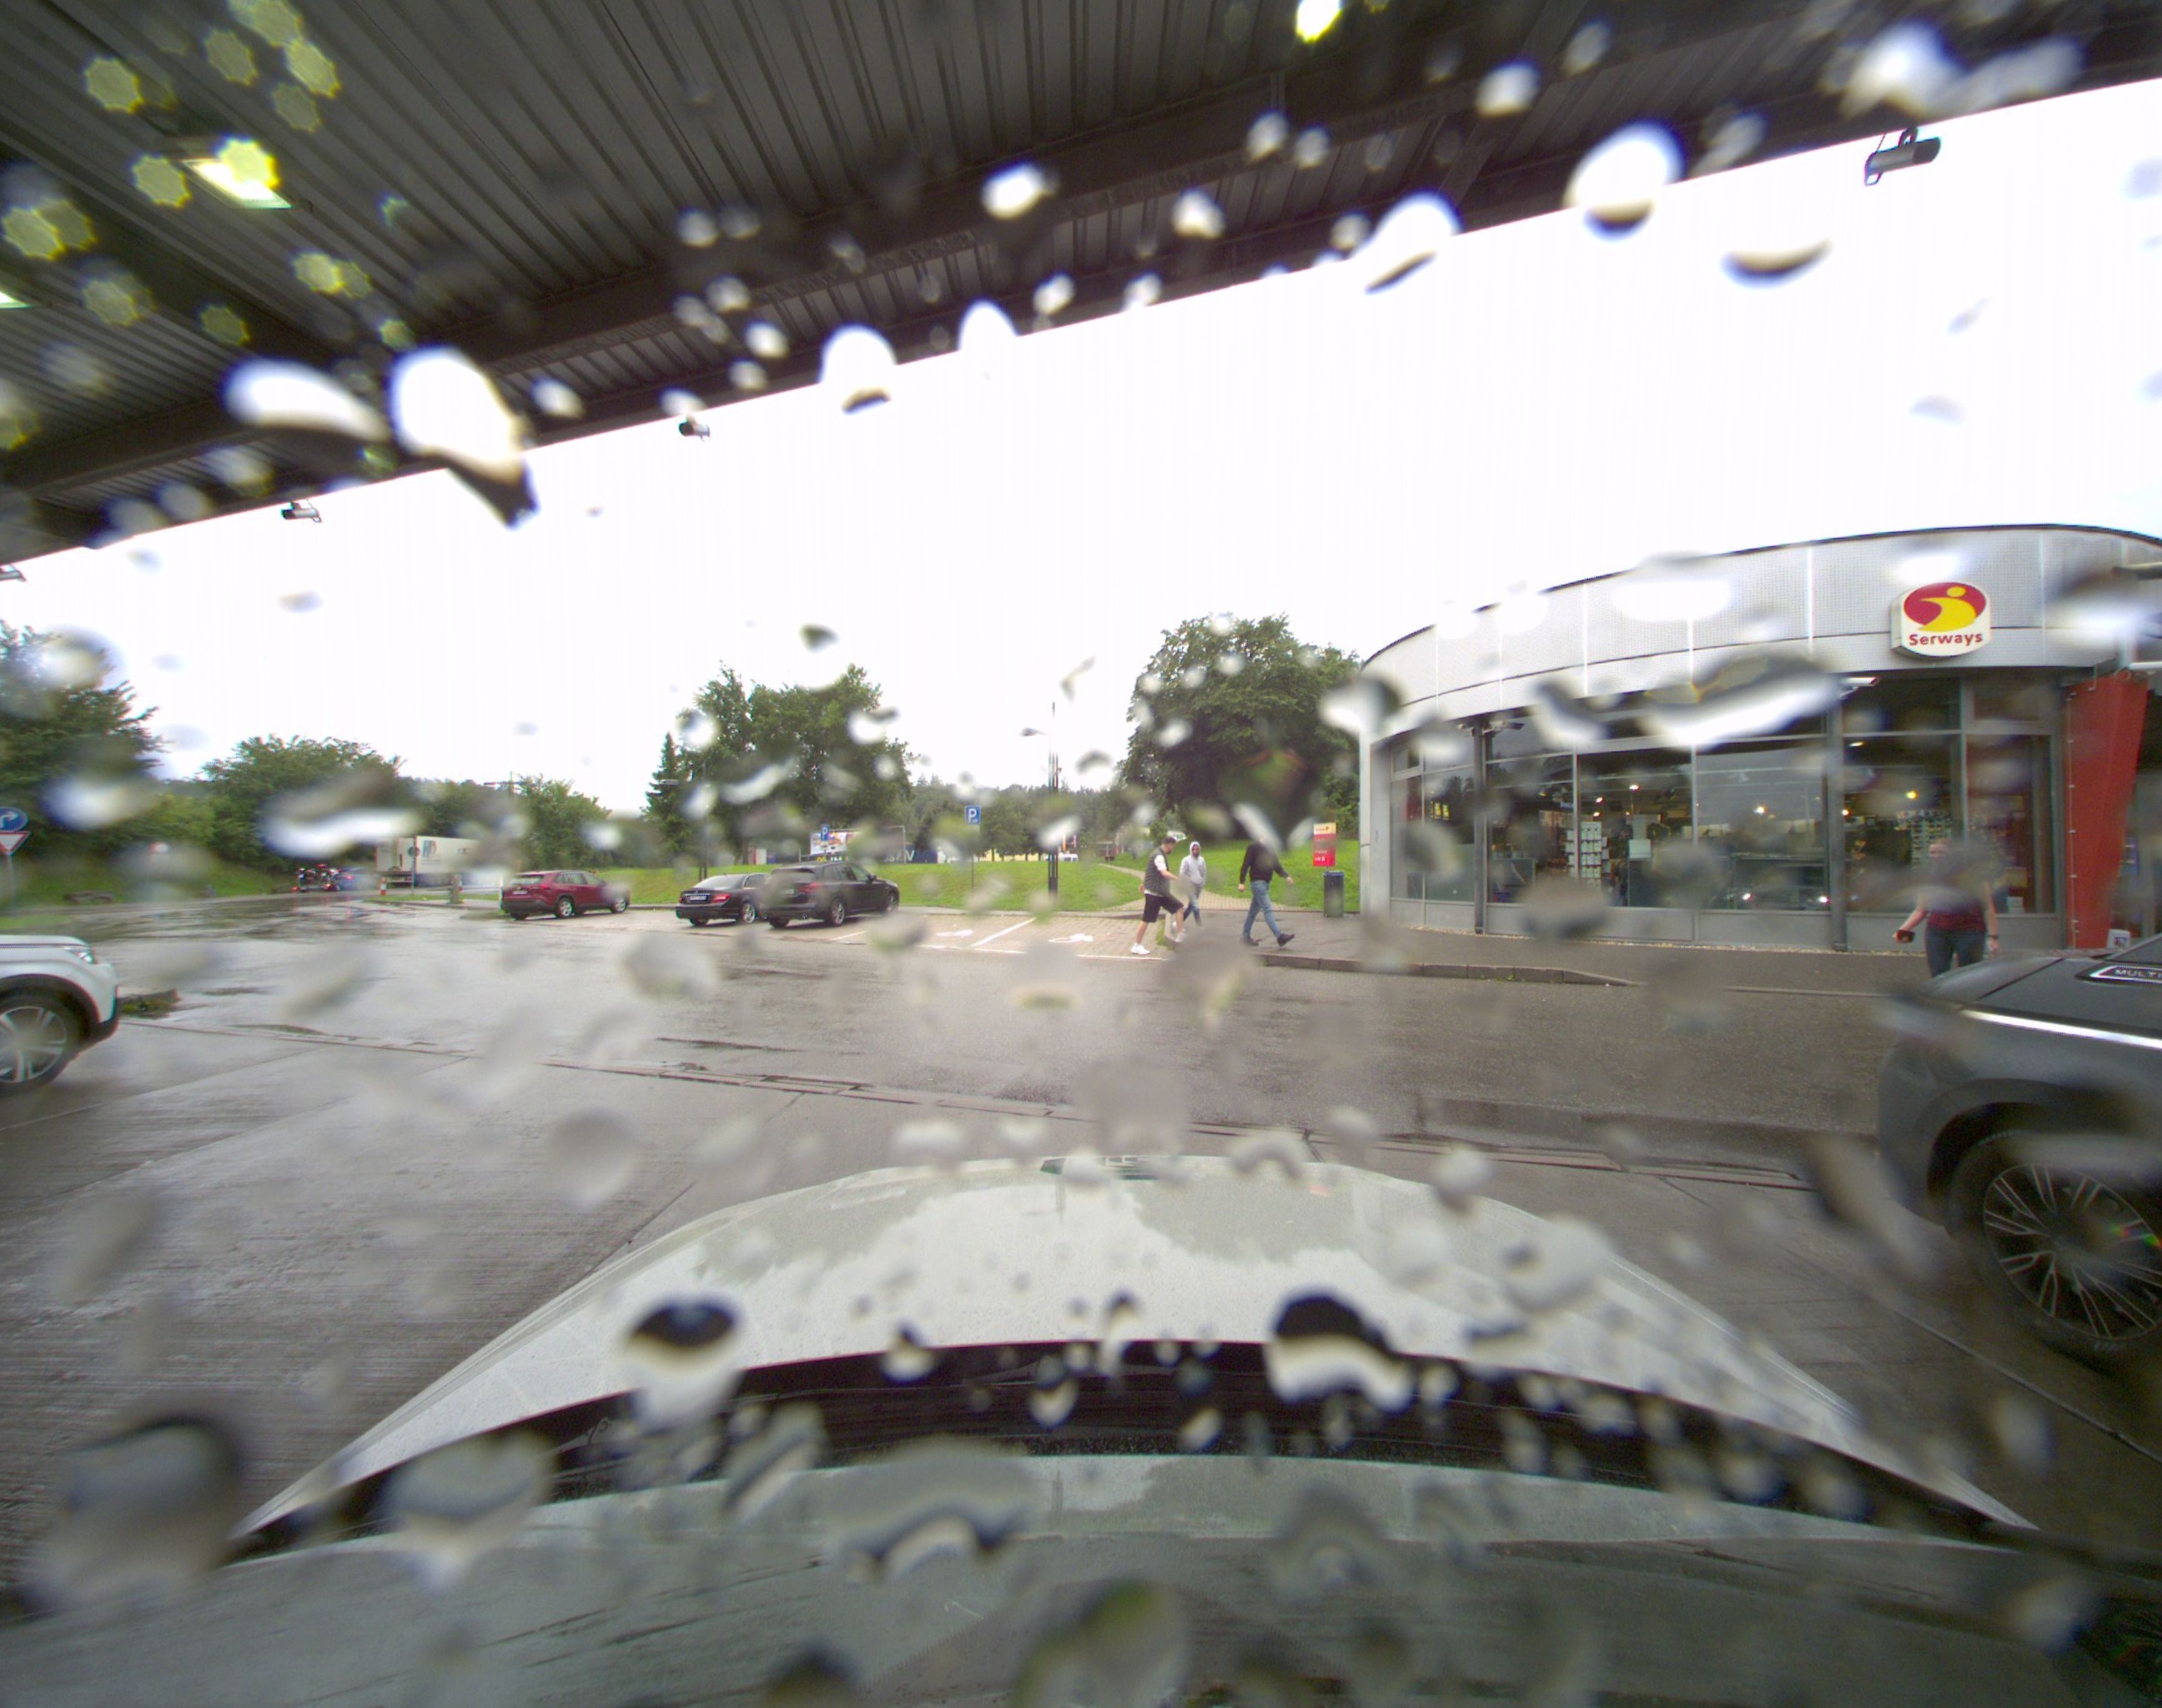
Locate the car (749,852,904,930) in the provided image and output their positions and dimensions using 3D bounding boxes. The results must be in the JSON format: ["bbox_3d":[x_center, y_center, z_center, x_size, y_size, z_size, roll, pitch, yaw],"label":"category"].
[{"bbox_3d":[-6.617,0.893,21.750,1.871,1.828,4.429,-2,0,13],"label":"car"}]

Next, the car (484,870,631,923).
[{"bbox_3d":[-18.159,1.423,28.532,1.873,1.596,4.364,-2,0,8],"label":"car"}]

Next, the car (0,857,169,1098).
[{"bbox_3d":[-7.871,0.806,3.759,1.810,1.565,4.999,0,0,-2],"label":"car"}]

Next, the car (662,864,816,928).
[{"bbox_3d":[-9.618,1.143,23.307,1.871,1.565,4.200,-2,0,13],"label":"car"}]

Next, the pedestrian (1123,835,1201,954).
[{"bbox_3d":[1.319,0.629,13.164,0.963,1.848,0.778,-2,0,30],"label":"pedestrian"}]

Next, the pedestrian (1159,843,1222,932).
[{"bbox_3d":[1.982,0.583,14.702,0.880,1.550,0.665,-2,0,31],"label":"pedestrian"}]

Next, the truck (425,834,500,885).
[{"bbox_3d":[-57.107,0.512,75.433,3.467,4.557,6.694,0,-1,-18],"label":"truck"}]

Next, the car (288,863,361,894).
[{"bbox_3d":[-49.234,1.558,53.132,1.934,1.838,4.361,-1,0,-20],"label":"car"}]

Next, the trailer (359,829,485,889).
[{"bbox_3d":[-54.885,0.438,68.492,3.466,4.557,13.827,0,-1,-18],"label":"trailer"}]

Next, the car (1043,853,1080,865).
[{"bbox_3d":[-3.210,0.804,134.002,5.376,2.013,2.468,-1,0,21],"label":"car"}]

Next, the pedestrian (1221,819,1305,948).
[{"bbox_3d":[2.767,0.429,12.347,0.989,1.864,0.804,-2,0,30],"label":"pedestrian"}]

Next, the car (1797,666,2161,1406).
[{"bbox_3d":[3.714,0.472,1.239,1.809,1.948,4.002,-1,0,2],"label":"car"}]

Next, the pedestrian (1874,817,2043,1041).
[{"bbox_3d":[7.341,0.583,6.869,0.786,1.734,0.845,-2,-1,37],"label":"pedestrian"}]
